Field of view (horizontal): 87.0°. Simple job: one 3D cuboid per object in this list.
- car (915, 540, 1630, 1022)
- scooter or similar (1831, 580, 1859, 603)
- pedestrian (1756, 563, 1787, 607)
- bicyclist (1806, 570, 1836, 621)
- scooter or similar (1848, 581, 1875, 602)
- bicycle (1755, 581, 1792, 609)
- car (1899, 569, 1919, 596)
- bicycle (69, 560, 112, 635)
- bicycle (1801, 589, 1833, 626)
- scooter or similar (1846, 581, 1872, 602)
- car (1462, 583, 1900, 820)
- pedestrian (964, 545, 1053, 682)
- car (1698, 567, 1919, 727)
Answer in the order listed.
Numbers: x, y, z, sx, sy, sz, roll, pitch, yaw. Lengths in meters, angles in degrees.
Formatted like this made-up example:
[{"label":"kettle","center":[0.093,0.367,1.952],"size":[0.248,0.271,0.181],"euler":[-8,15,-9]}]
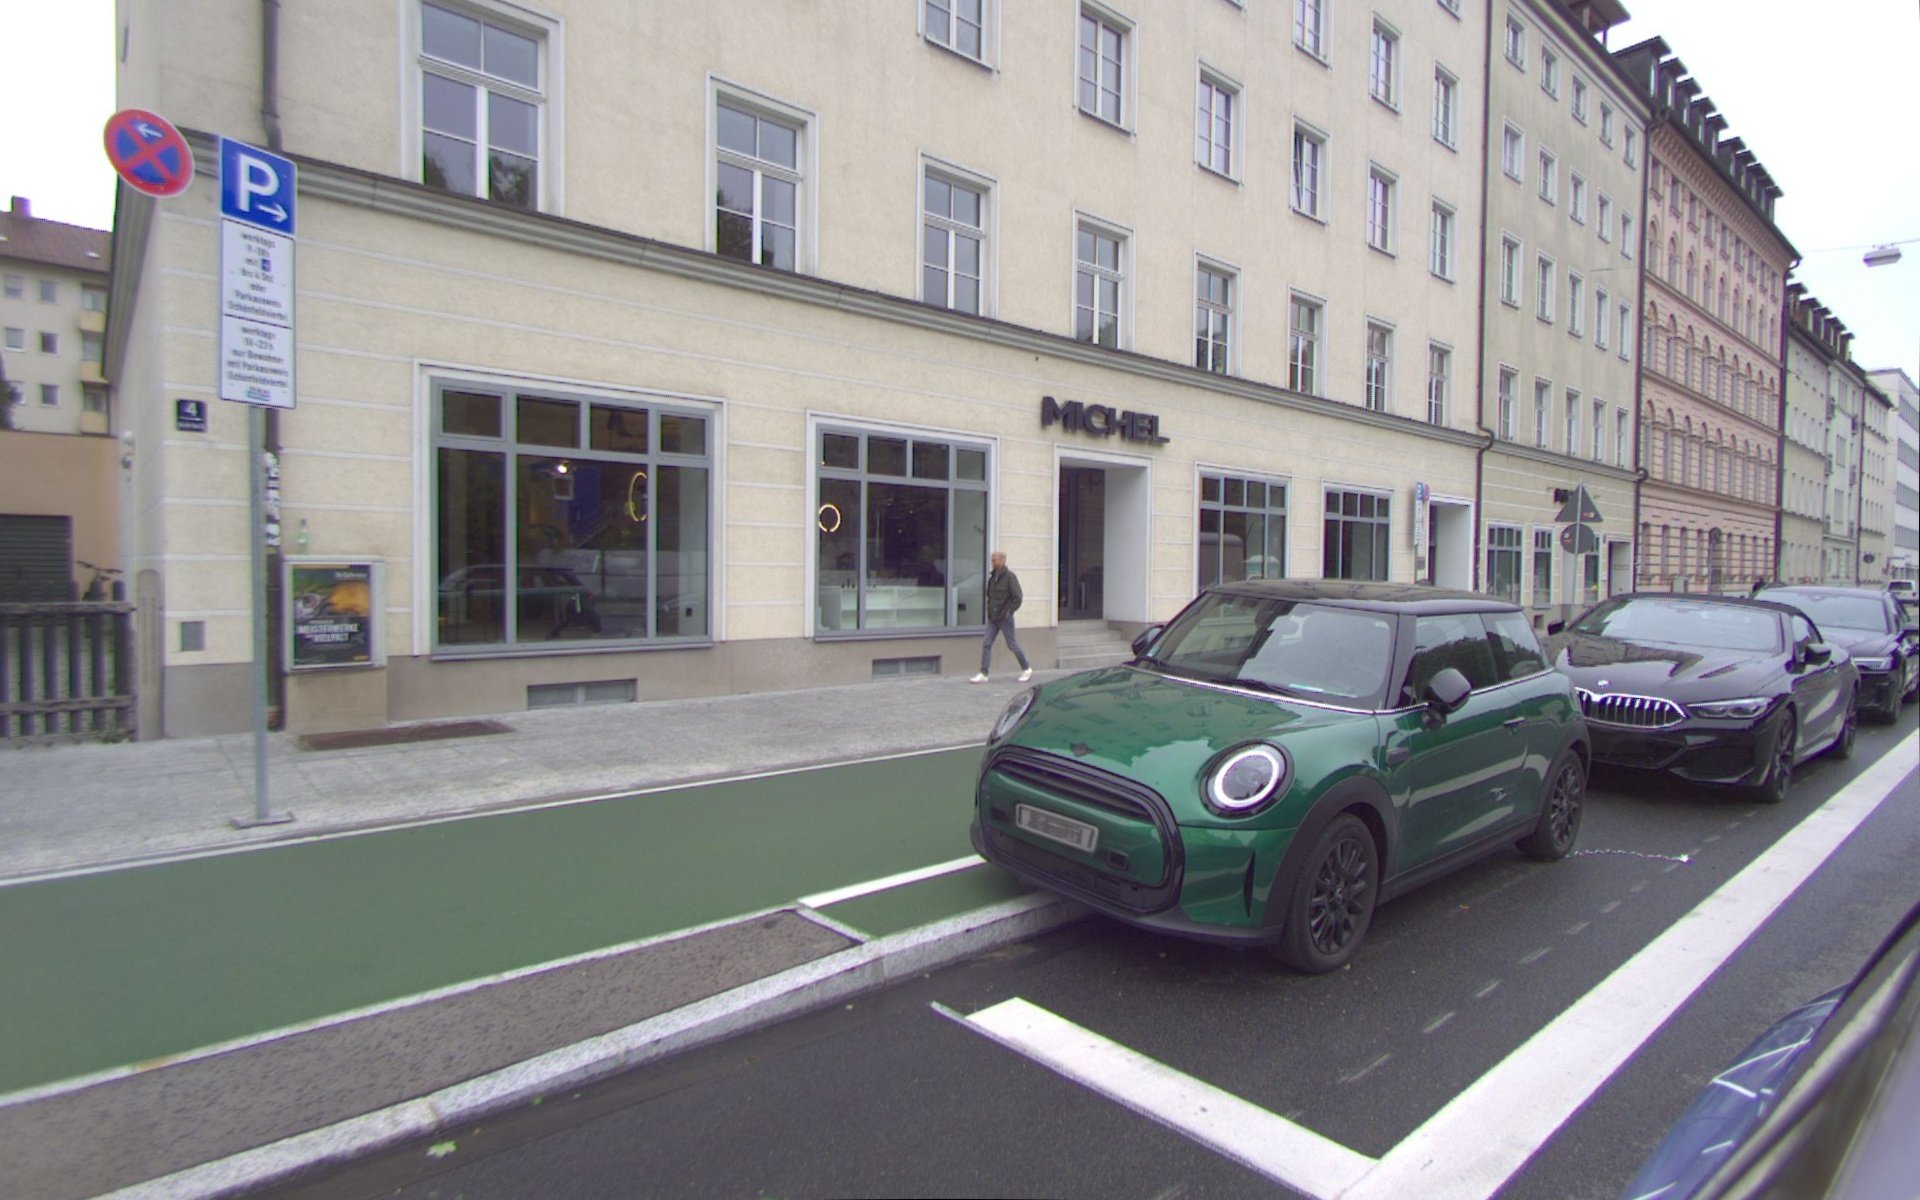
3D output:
[{"label":"car","center":[1.769,0.551,5.093],"size":[3.761,1.540,1.678],"euler":[-1,1,-40]},{"label":"scooter or similar","center":[49.109,-0.471,56.149],"size":[1.055,1.260,0.554],"euler":[1,1,-6]},{"label":"pedestrian","center":[33.008,-0.634,41.173],"size":[0.819,1.767,0.795],"euler":[0,2,-40]},{"label":"bicyclist","center":[25.680,-0.146,30.199],"size":[0.630,1.485,0.643],"euler":[2,2,43]},{"label":"scooter or similar","center":[52.750,-0.483,59.203],"size":[1.063,1.207,0.451],"euler":[1,1,20]},{"label":"bicycle","center":[35.403,-0.204,44.033],"size":[1.690,1.191,0.558],"euler":[0,2,-27]},{"label":"car","center":[66.367,-1.219,69.972],"size":[3.931,1.855,1.764],"euler":[-1,2,-42]},{"label":"bicycle","center":[-14.400,-0.065,16.740],"size":[0.512,1.186,1.830],"euler":[-1,2,-41]},{"label":"bicycle","center":[25.613,0.213,30.242],"size":[0.630,1.049,1.987],"euler":[2,2,42]},{"label":"scooter or similar","center":[53.559,-0.493,60.277],"size":[1.059,1.207,0.436],"euler":[1,1,10]},{"label":"car","center":[6.092,0.579,8.313],"size":[4.636,1.425,1.830],"euler":[-1,1,-40]},{"label":"pedestrian","center":[0.632,0.153,13.244],"size":[0.846,1.709,0.780],"euler":[0,2,-40]},{"label":"car","center":[10.734,0.433,12.400],"size":[4.387,1.497,1.812],"euler":[-1,6,-43]}]
